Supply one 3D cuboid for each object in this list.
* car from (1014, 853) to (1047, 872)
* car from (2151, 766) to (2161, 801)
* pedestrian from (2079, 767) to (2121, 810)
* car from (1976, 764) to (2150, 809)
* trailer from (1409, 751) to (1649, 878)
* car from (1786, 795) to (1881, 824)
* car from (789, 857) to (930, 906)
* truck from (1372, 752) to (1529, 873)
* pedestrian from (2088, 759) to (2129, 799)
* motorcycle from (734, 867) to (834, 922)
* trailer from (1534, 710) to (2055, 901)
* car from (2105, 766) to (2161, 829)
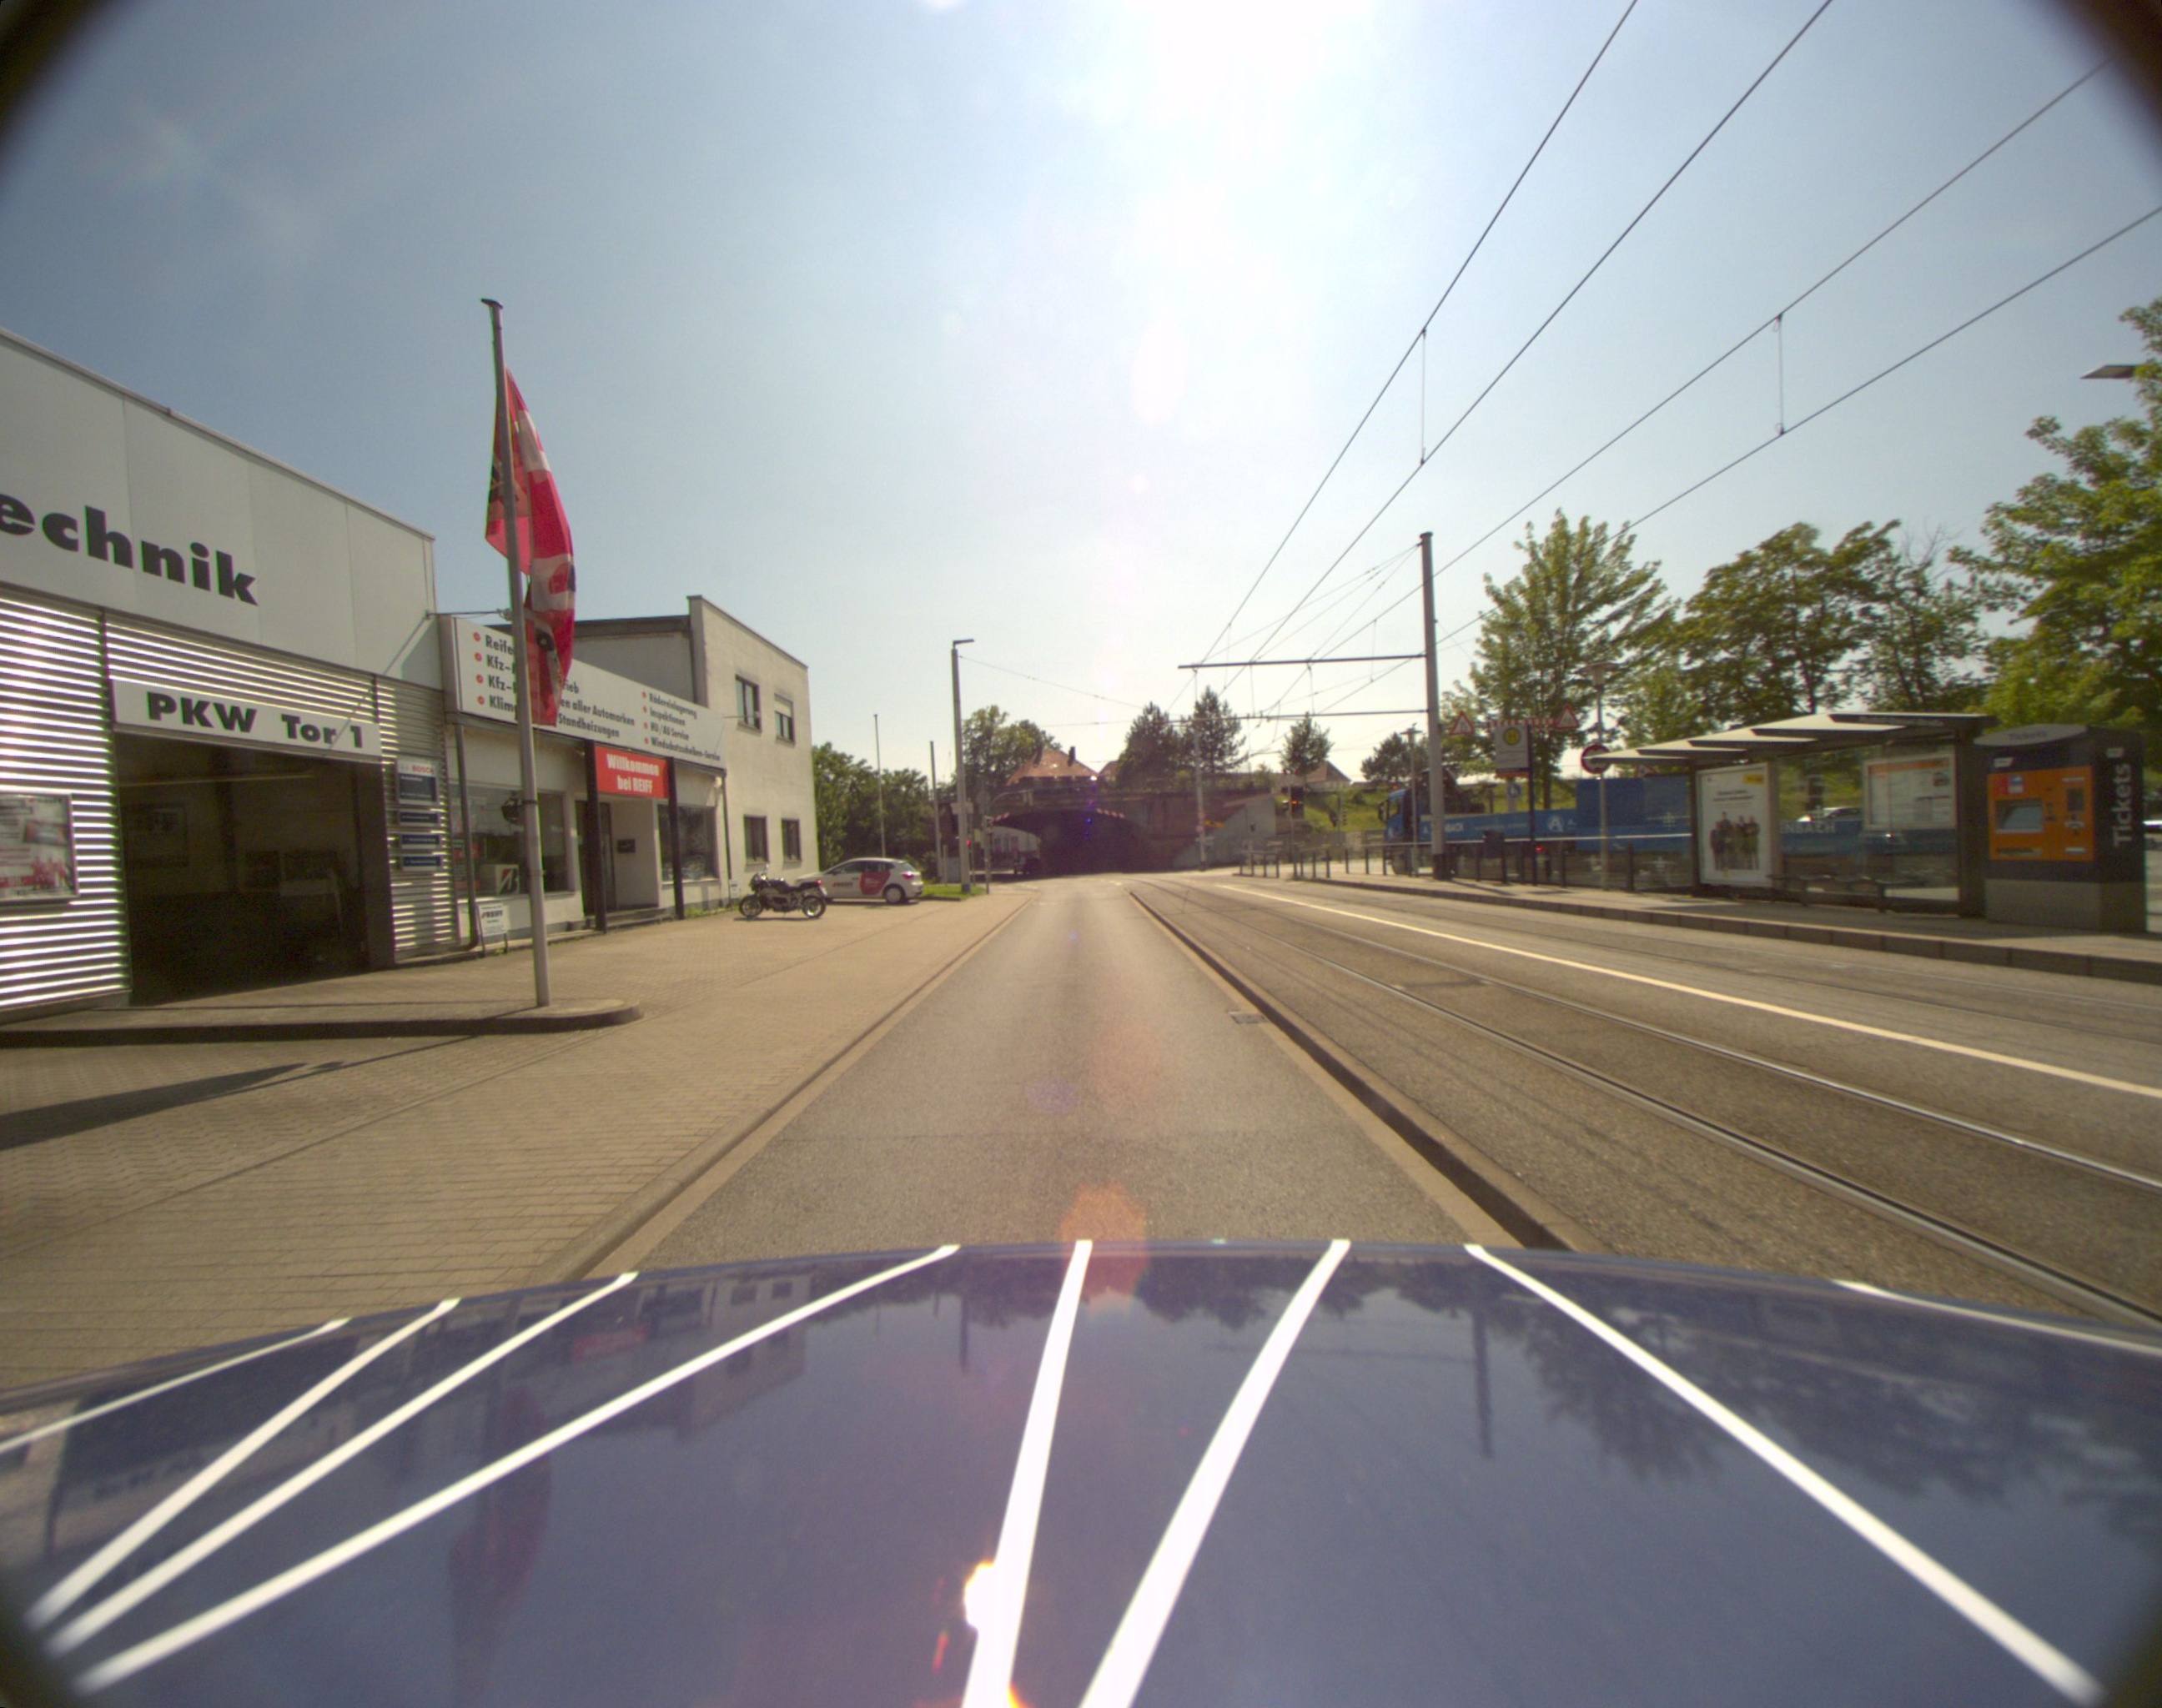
[{"bbox_3d":[-4.867,0.818,72.998,1.824,1.594,4.300,-5,1,-22],"label":"car"},{"bbox_3d":[48.560,-3.206,31.444,1.855,1.484,4.806,-4,-1,-32],"label":"car"},{"bbox_3d":[38.996,-2.496,29.092,0.755,1.518,0.565,-3,1,29],"label":"pedestrian"},{"bbox_3d":[39.967,-2.711,31.060,1.720,1.330,3.984,-4,-1,-20],"label":"car"},{"bbox_3d":[12.452,-0.974,22.026,2.750,2.960,6.897,-3,0,0],"label":"trailer"},{"bbox_3d":[49.537,-2.912,50.061,4.366,1.607,1.847,-3,4,1],"label":"car"},{"bbox_3d":[-7.055,0.855,24.472,3.997,1.454,1.889,0,1,-1],"label":"car"},{"bbox_3d":[12.413,-1.298,26.040,2.750,3.588,5.039,-3,0,0],"label":"truck"},{"bbox_3d":[41.796,-3.057,30.912,0.755,1.518,0.565,-3,1,23],"label":"pedestrian"},{"bbox_3d":[-7.349,0.983,18.870,2.189,1.301,0.731,0,2,-1],"label":"motorcycle"},{"bbox_3d":[12.580,-0.720,14.759,2.804,2.613,7.599,-3,0,-1],"label":"trailer"},{"bbox_3d":[29.362,-1.517,19.603,2.181,1.586,5.123,-1,4,38],"label":"car"}]
